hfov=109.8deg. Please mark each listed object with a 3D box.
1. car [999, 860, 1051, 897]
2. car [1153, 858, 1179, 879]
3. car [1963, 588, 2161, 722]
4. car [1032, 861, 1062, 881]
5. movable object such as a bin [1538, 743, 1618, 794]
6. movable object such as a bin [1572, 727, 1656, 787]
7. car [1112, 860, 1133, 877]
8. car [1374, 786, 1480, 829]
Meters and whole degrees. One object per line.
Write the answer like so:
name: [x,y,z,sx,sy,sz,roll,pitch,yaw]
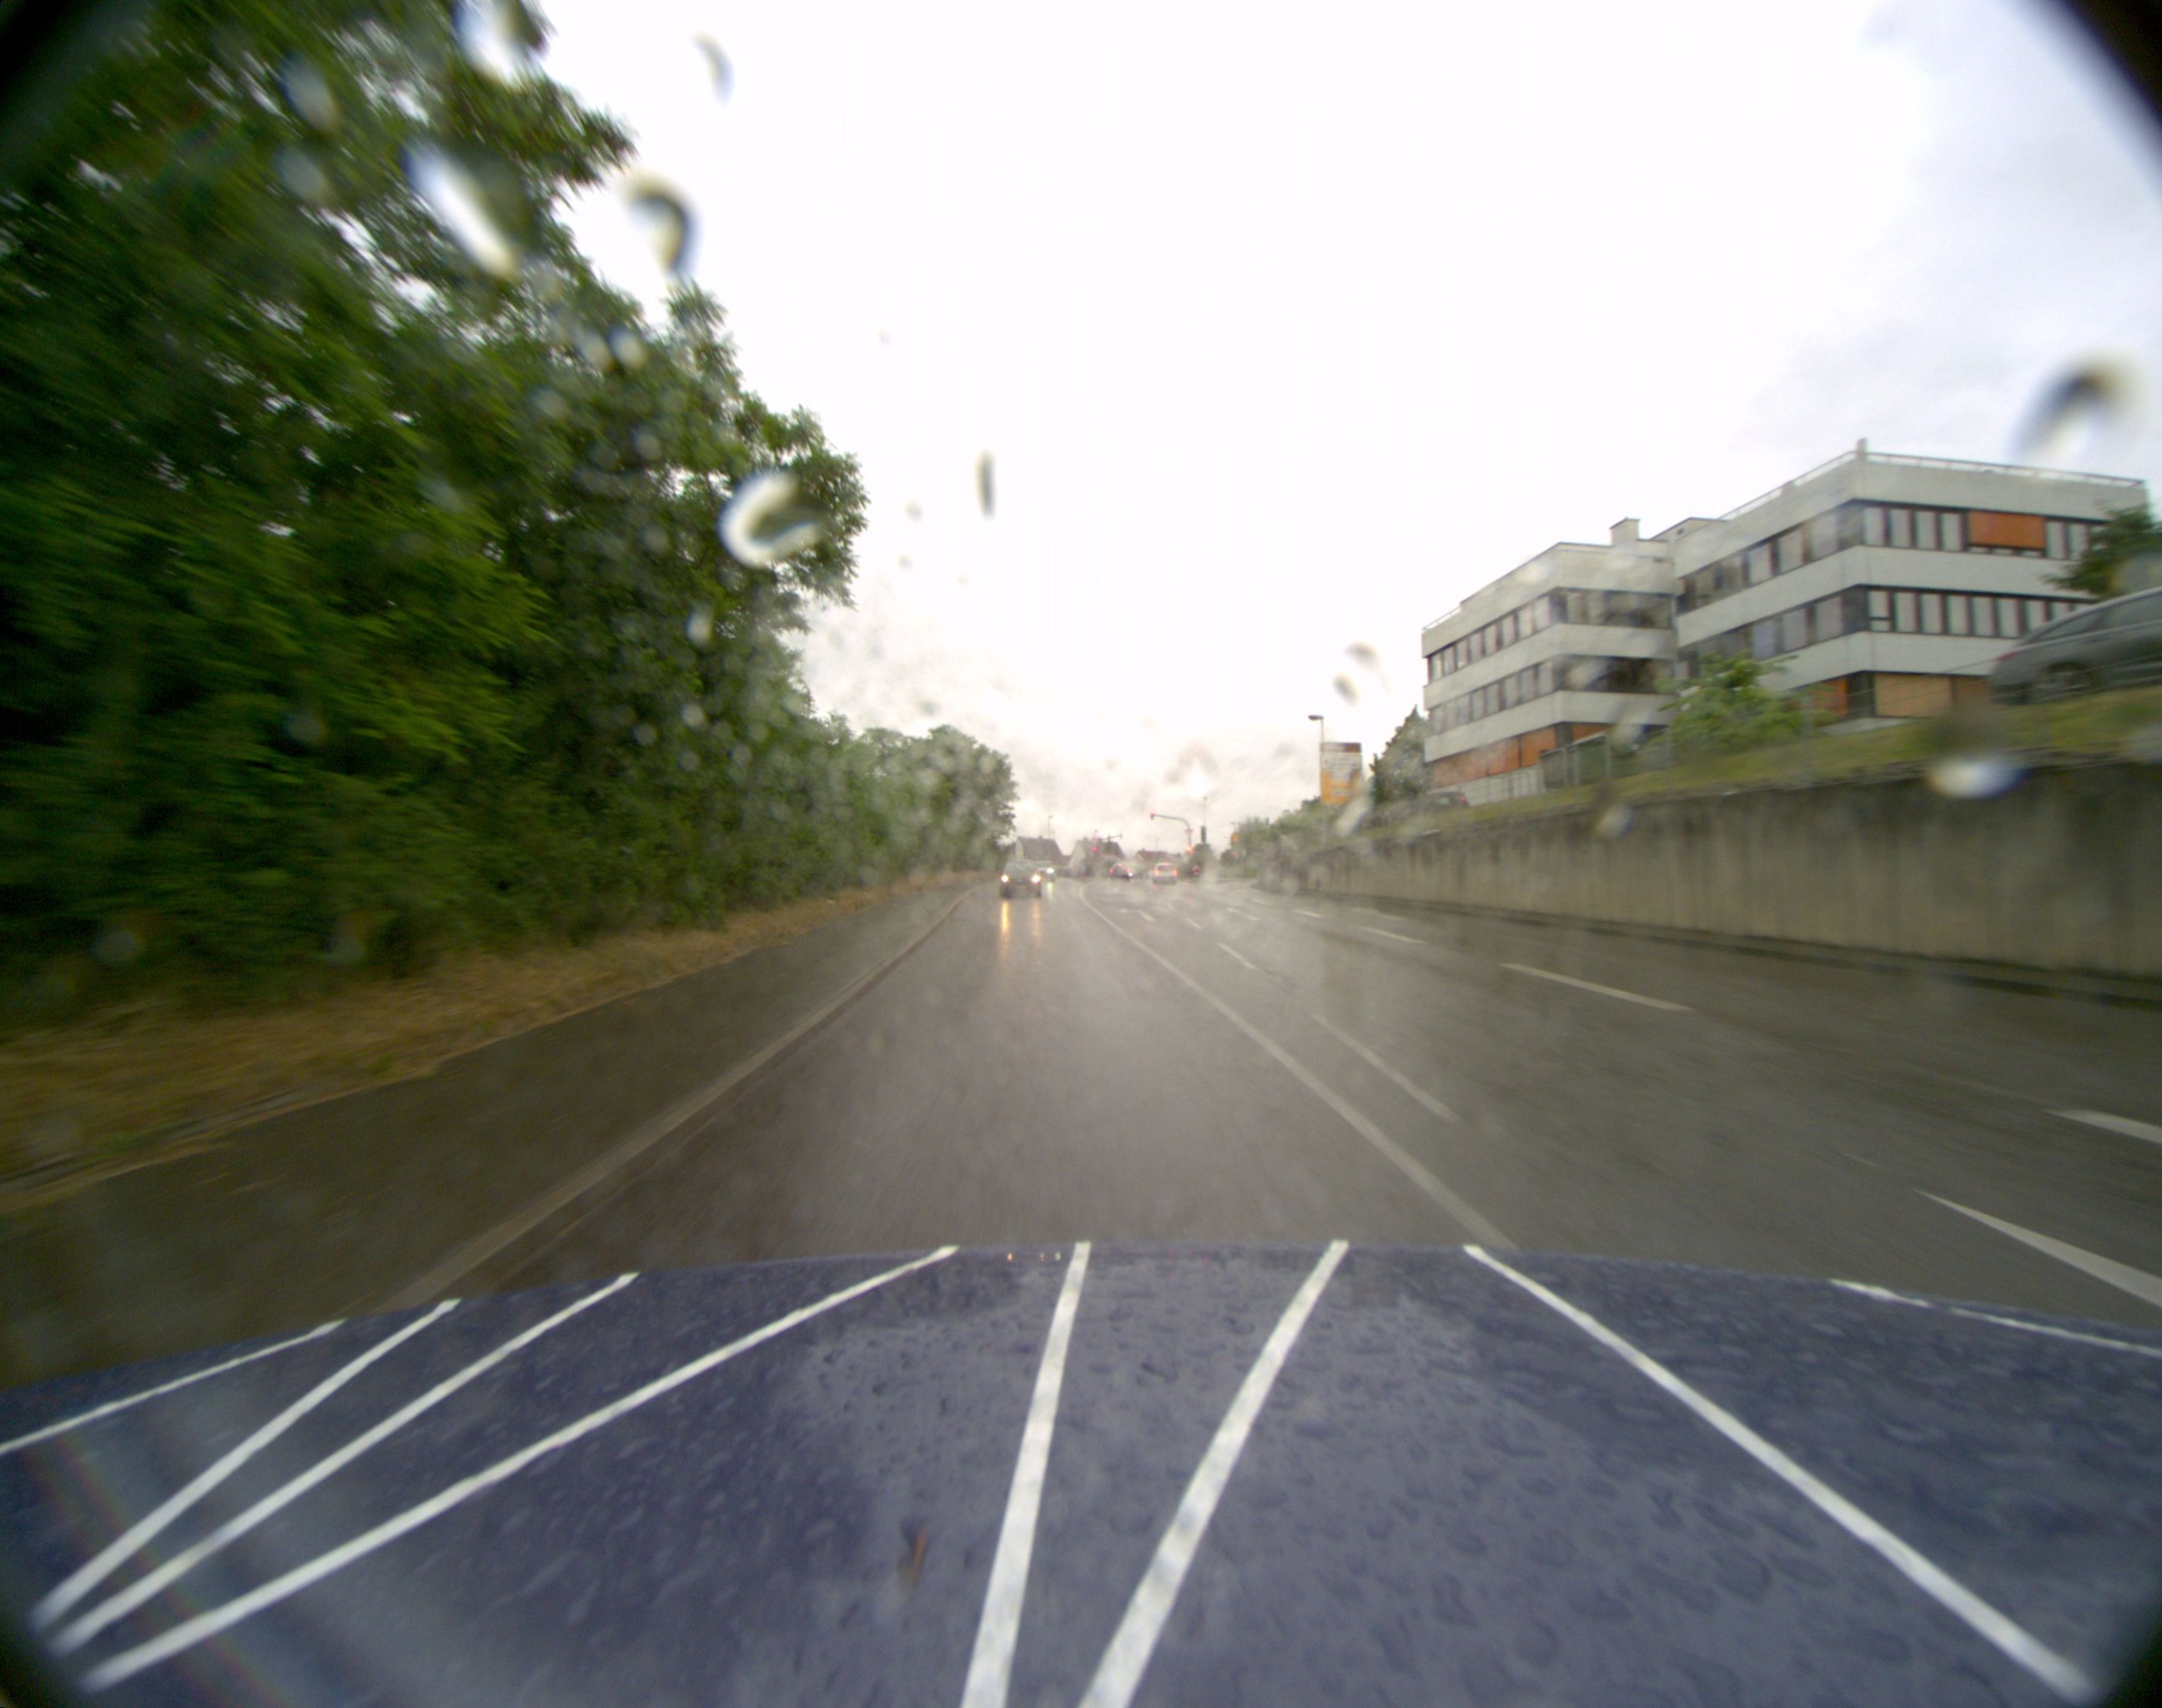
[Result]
car: [-2.256,0.969,31.680,1.874,1.432,4.377,1,0,-1]
car: [6.305,1.055,56.600,1.737,1.452,3.721,-1,1,3]
car: [14.248,-2.620,9.121,1.918,1.335,4.530,-1,1,-4]
car: [-2.525,1.220,56.966,1.873,1.432,4.378,1,0,2]
movable object such as a bin: [13.361,-2.273,20.478,1.244,1.204,1.342,-1,0,-1]
movable object such as a bin: [13.391,-2.419,19.121,1.244,1.338,1.217,-1,0,0]
car: [3.619,1.235,66.714,1.737,1.297,3.721,-1,1,3]
car: [14.966,-1.959,32.892,3.989,1.644,2.003,-1,1,29]
